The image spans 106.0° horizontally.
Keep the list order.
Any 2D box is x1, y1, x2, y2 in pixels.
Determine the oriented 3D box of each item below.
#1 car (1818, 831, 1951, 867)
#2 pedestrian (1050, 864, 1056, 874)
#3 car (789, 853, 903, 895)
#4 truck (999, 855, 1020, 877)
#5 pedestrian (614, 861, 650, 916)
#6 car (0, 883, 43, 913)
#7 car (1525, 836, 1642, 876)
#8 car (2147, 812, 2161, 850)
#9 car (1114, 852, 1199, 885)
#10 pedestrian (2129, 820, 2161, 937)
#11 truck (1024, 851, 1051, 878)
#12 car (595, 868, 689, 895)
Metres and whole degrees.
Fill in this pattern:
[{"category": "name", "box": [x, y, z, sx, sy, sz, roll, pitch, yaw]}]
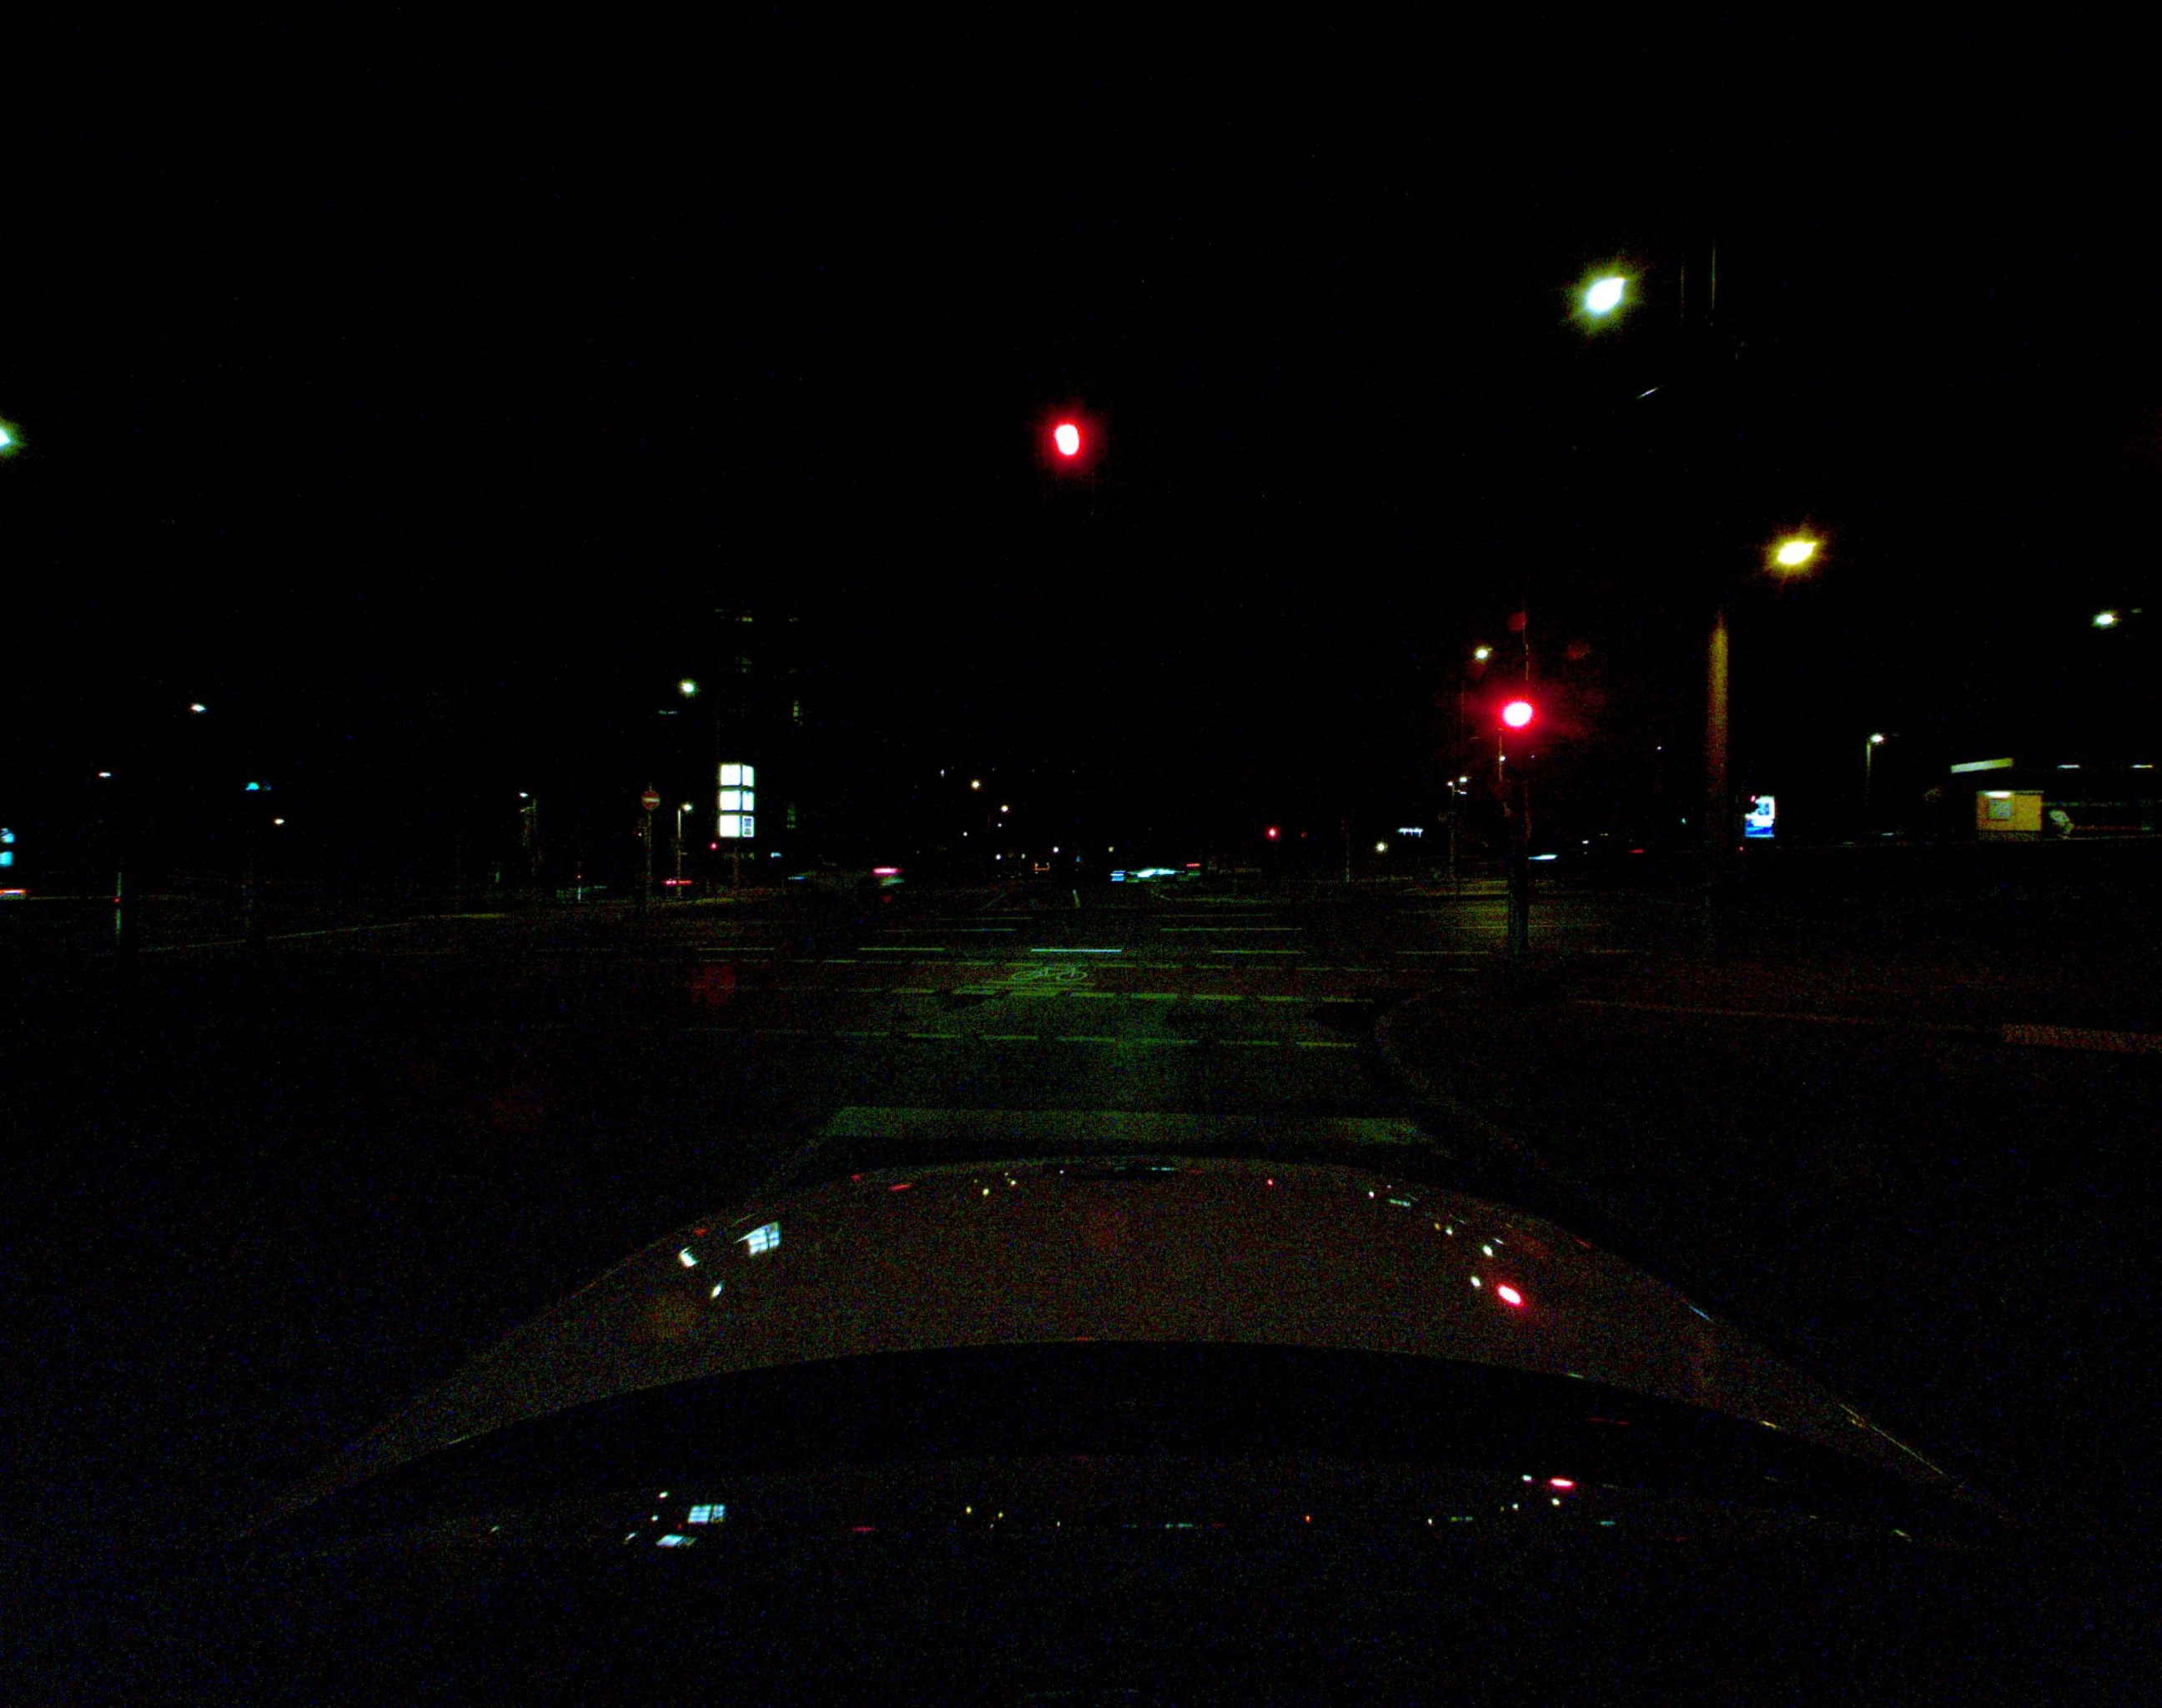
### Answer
[{"category": "car", "box": [37.323, -0.204, 37.924, 4.212, 1.585, 1.806, 0, -1, 6]}, {"category": "pedestrian", "box": [-5.029, 2.730, 147.966, 0.851, 1.912, 1.001, 0, -1, -16]}, {"category": "car", "box": [-11.044, 0.952, 38.446, 4.757, 1.844, 1.845, -1, -1, 5]}, {"category": "truck", "box": [-10.541, 1.788, 120.006, 2.419, 3.089, 6.412, 0, -1, -11]}, {"category": "pedestrian", "box": [-14.085, 1.071, 25.566, 0.671, 1.722, 0.710, -1, -2, 26]}, {"category": "car", "box": [-63.616, 2.538, 47.317, 4.377, 1.644, 1.944, 0, -1, 5]}, {"category": "car", "box": [21.915, 0.088, 35.642, 3.964, 1.585, 1.808, -2, 0, 8]}, {"category": "car", "box": [47.932, -0.997, 33.890, 4.551, 1.585, 1.848, -1, 1, 3]}, {"category": "car", "box": [3.738, 0.706, 40.380, 4.041, 1.424, 1.846, -1, 1, 5]}, {"category": "pedestrian", "box": [15.861, 0.308, 11.594, 0.870, 1.656, 0.843, -7, -5, 42]}, {"category": "truck", "box": [-7.989, 1.936, 149.259, 3.366, 4.843, 7.865, 0, -1, -14]}, {"category": "car", "box": [-24.626, 1.540, 45.779, 4.306, 1.388, 1.845, -2, -1, 5]}]
